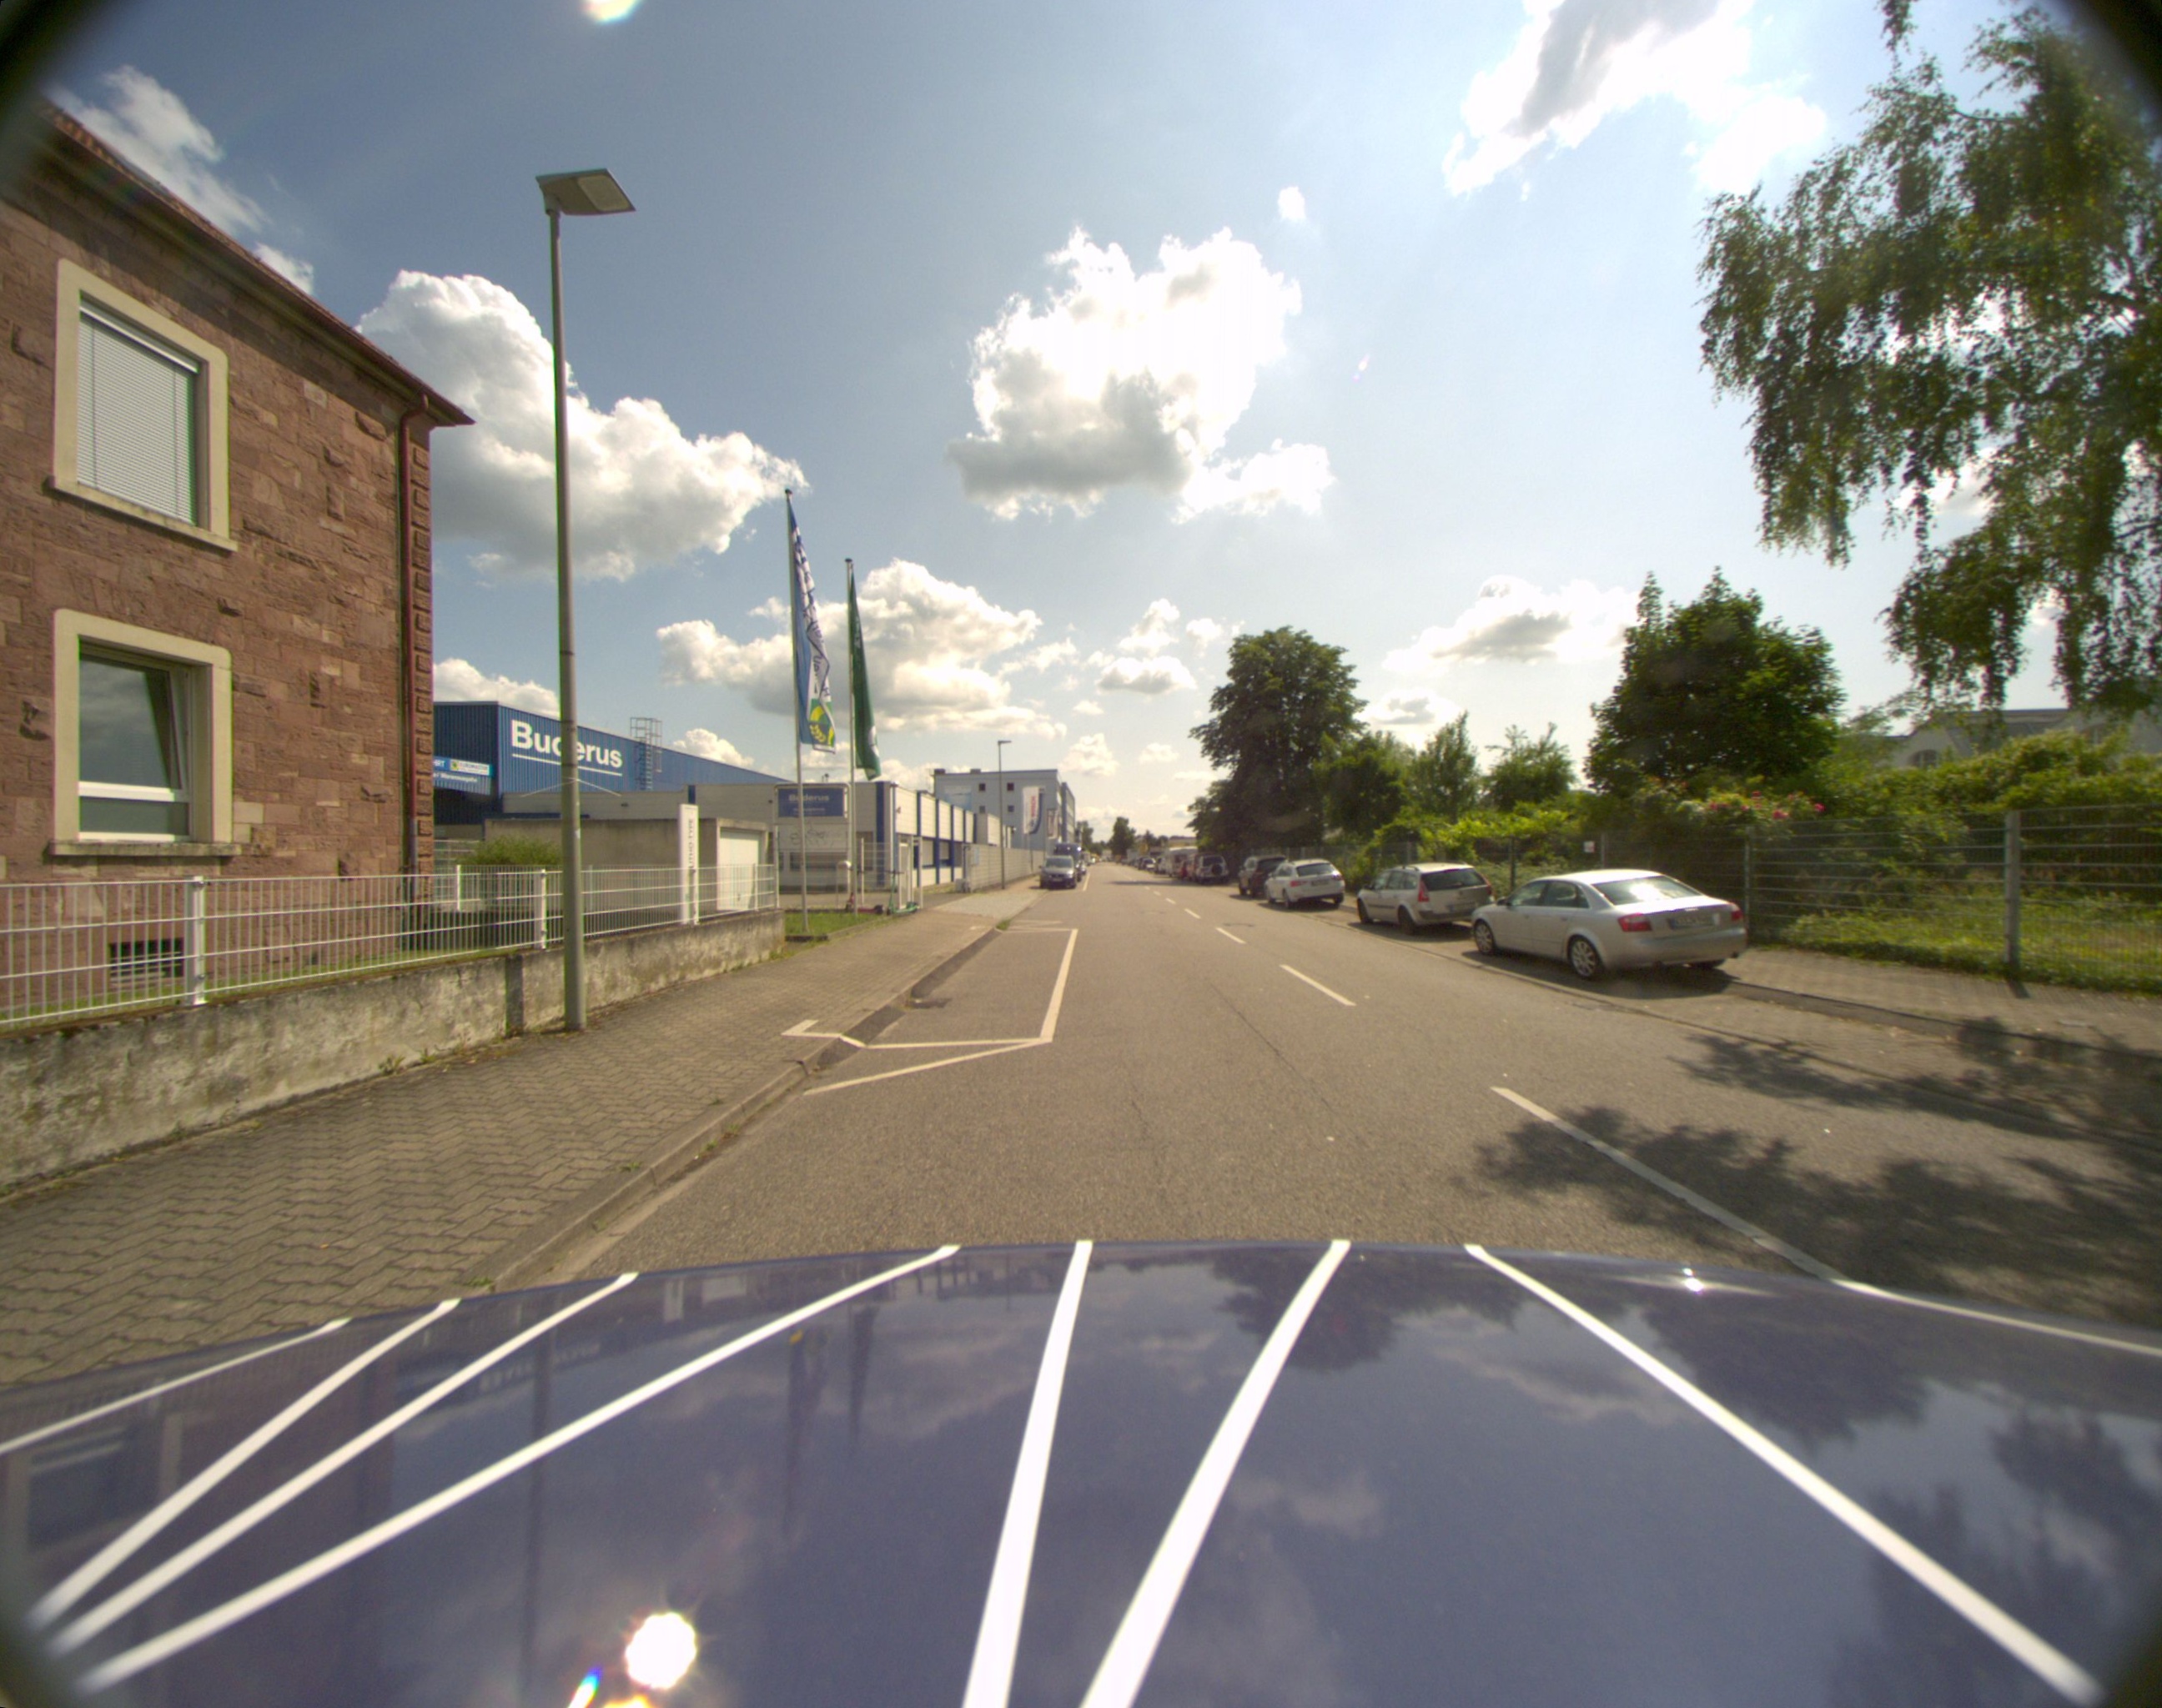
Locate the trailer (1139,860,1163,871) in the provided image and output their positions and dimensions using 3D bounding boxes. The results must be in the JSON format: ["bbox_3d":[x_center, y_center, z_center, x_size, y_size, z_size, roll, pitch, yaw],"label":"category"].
[{"bbox_3d":[8.257,1.340,90.186,2.276,0.878,7.132,-5,0,1],"label":"trailer"}]

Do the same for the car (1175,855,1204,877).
[{"bbox_3d":[8.400,0.915,59.080,1.629,1.523,4.268,-4,0,1],"label":"car"}]

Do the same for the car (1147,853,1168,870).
[{"bbox_3d":[8.132,0.758,80.951,1.831,1.783,4.735,0,0,1],"label":"car"}]

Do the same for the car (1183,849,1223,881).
[{"bbox_3d":[8.461,0.718,53.005,1.903,1.943,4.958,-6,0,1],"label":"car"}]

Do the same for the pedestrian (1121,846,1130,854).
[{"bbox_3d":[10.980,-0.966,188.338,1.998,2.002,4.000,-1,1,3],"label":"pedestrian"}]

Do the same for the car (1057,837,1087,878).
[{"bbox_3d":[-0.587,0.239,54.450,1.942,2.732,6.155,0,0,1],"label":"car"}]

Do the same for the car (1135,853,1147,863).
[{"bbox_3d":[9.208,0.656,117.089,1.619,1.475,3.710,-3,0,1],"label":"car"}]

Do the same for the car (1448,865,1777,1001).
[{"bbox_3d":[7.631,0.999,11.627,1.728,1.468,4.631,-4,0,0],"label":"car"}]

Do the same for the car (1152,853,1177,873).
[{"bbox_3d":[8.104,0.855,74.183,1.688,1.682,4.444,-5,0,-2],"label":"car"}]

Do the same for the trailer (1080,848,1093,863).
[{"bbox_3d":[0.948,0.274,132.023,1.873,2.538,5.073,0,0,4],"label":"trailer"}]

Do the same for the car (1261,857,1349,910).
[{"bbox_3d":[7.485,0.924,25.869,1.704,1.585,4.788,0,0,2],"label":"car"}]

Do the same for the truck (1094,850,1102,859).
[{"bbox_3d":[5.444,0.154,249.050,2.402,2.787,6.376,0,0,3],"label":"truck"}]

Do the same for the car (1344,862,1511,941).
[{"bbox_3d":[7.786,0.983,17.637,1.799,1.518,4.659,-1,0,1],"label":"car"}]

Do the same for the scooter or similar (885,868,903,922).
[{"bbox_3d":[-4.578,0.990,18.604,0.334,1.304,0.366,0,1,1],"label":"scooter or similar"}]

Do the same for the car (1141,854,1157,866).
[{"bbox_3d":[8.784,0.771,98.687,1.581,1.504,4.201,-1,0,-1],"label":"car"}]

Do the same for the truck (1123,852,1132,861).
[{"bbox_3d":[11.544,0.674,188.991,2.133,2.225,7.351,-3,0,4],"label":"truck"}]

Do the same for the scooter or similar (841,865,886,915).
[{"bbox_3d":[-5.524,0.895,19.285,1.147,1.238,0.259,1,1,19],"label":"scooter or similar"}]

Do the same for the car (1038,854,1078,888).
[{"bbox_3d":[-1.135,0.837,39.928,1.829,1.655,4.556,0,0,2],"label":"car"}]

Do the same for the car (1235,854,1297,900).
[{"bbox_3d":[7.651,0.903,31.833,1.614,1.735,4.637,-2,0,3],"label":"car"}]

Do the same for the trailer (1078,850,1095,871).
[{"bbox_3d":[0.533,0.655,76.261,1.605,2.025,2.741,-1,0,1],"label":"trailer"}]

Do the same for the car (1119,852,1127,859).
[{"bbox_3d":[14.022,0.561,254.841,1.997,2.289,4.004,-2,0,11],"label":"car"}]

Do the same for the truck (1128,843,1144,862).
[{"bbox_3d":[10.373,-0.321,144.330,2.256,3.342,6.907,-5,0,1],"label":"truck"}]

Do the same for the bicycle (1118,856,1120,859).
[{"bbox_3d":[9.054,0.846,180.591,0.589,0.737,2.126,0,0,4],"label":"bicycle"}]

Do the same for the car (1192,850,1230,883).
[{"bbox_3d":[7.927,0.735,46.599,1.704,1.791,3.827,-4,0,3],"label":"car"}]

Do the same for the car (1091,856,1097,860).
[{"bbox_3d":[3.594,1.119,215.392,1.657,1.324,4.000,0,0,1],"label":"car"}]

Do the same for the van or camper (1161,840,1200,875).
[{"bbox_3d":[8.608,0.275,66.260,2.268,2.787,6.833,-4,0,0],"label":"van or camper"}]
